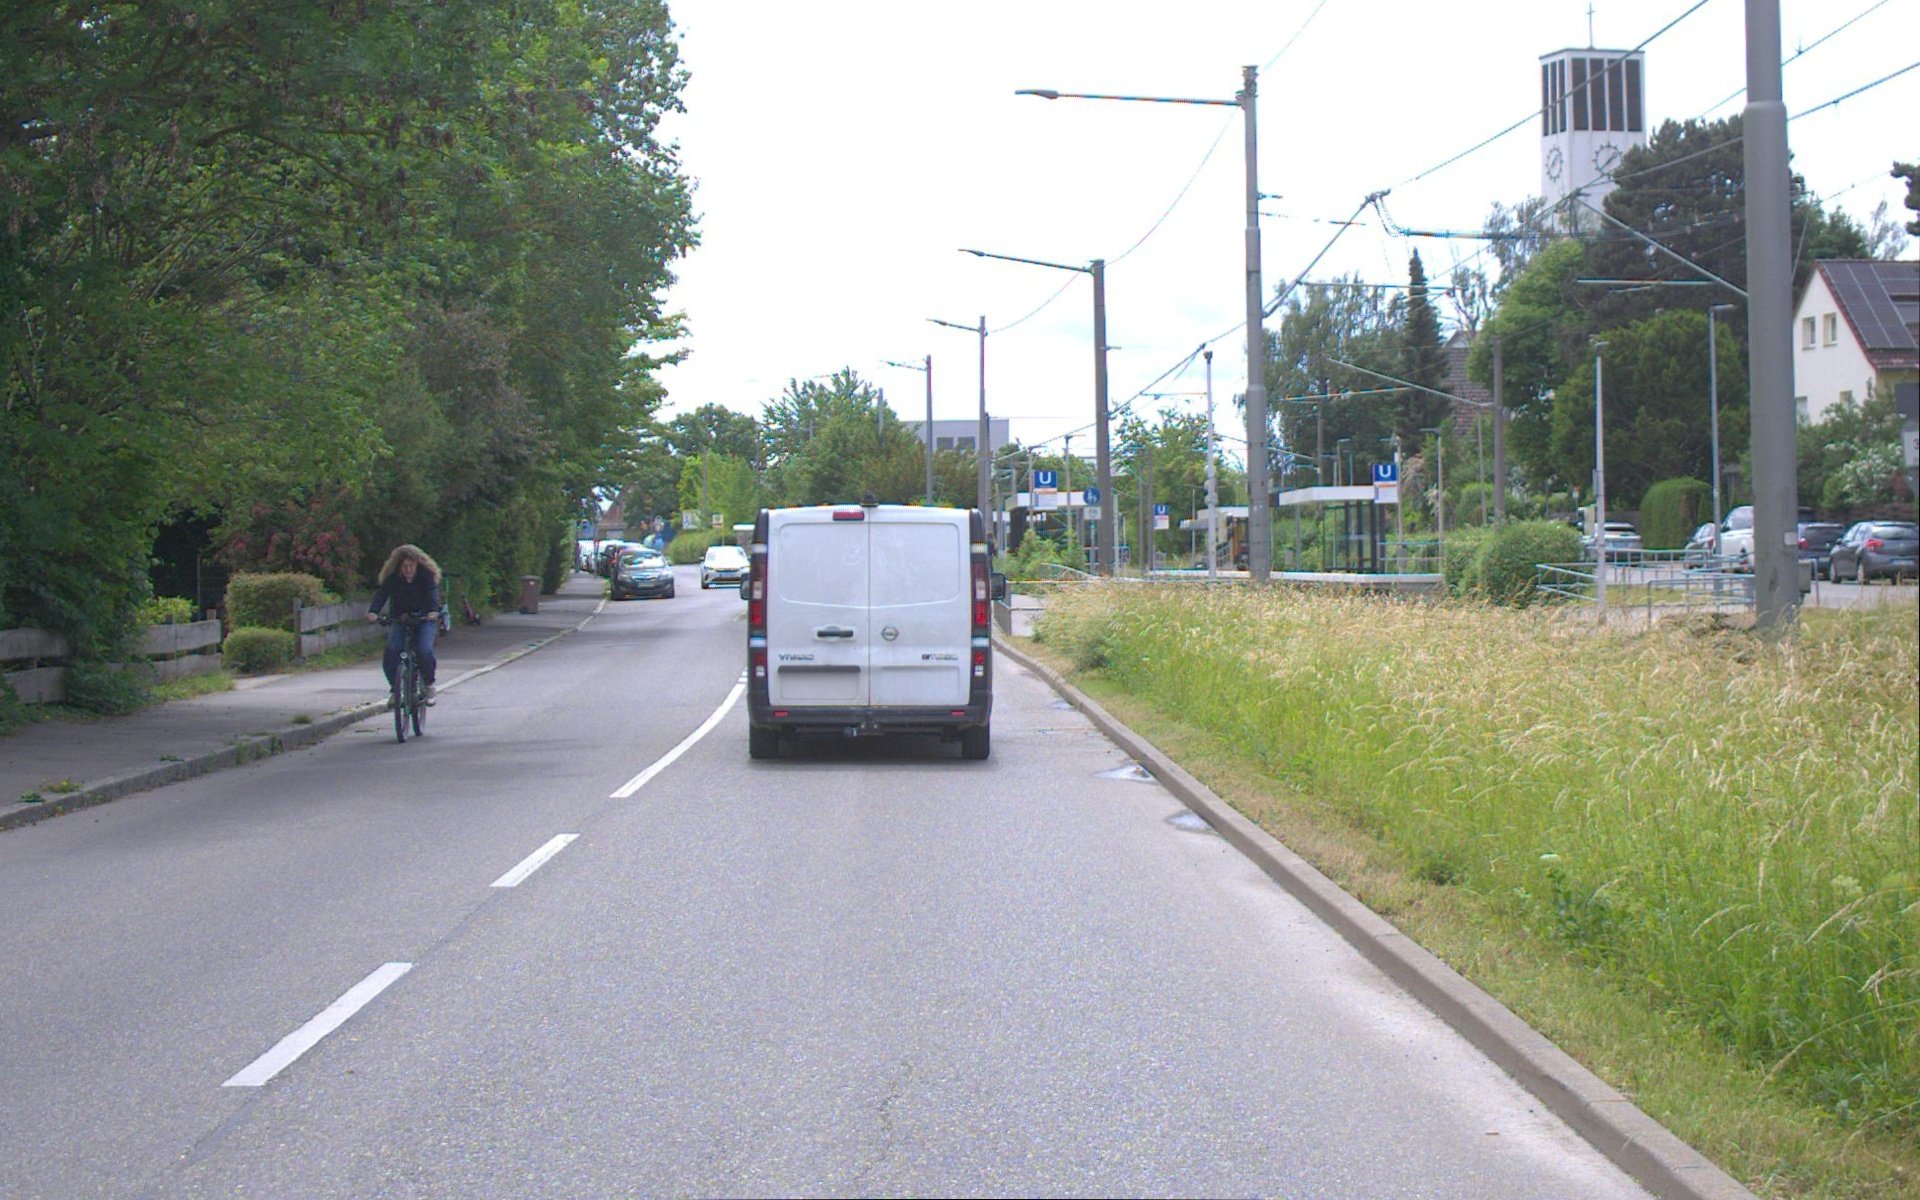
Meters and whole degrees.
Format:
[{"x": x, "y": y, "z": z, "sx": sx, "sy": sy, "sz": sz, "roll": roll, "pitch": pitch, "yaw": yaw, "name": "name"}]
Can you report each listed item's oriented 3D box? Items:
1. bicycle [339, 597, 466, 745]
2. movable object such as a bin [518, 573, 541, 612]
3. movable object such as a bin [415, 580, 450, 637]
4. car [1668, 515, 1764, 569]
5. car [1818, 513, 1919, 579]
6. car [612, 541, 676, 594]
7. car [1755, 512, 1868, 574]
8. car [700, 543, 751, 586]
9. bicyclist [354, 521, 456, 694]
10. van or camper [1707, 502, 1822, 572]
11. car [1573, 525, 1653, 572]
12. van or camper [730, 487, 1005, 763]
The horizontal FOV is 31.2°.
[{"x": -5.012, "y": 0.617, "z": 31.060, "sx": 0.755, "sy": 1.222, "sz": 2.308, "roll": -2, "pitch": 1, "yaw": -1, "name": "bicycle"}, {"x": -10.594, "y": -0.183, "z": 84.616, "sx": 0.462, "sy": 0.927, "sz": 0.430, "roll": 3, "pitch": 0, "yaw": -18, "name": "movable object such as a bin"}, {"x": -8.779, "y": 0.138, "z": 57.226, "sx": 0.513, "sy": 0.942, "sz": 0.568, "roll": 1, "pitch": 1, "yaw": -1, "name": "movable object such as a bin"}, {"x": 21.650, "y": -1.663, "z": 98.588, "sx": 1.883, "sy": 1.517, "sz": 4.000, "roll": -1, "pitch": 1, "yaw": 0, "name": "car"}, {"x": 21.832, "y": -1.298, "z": 81.722, "sx": 1.883, "sy": 1.517, "sz": 4.000, "roll": -1, "pitch": 1, "yaw": 0, "name": "car"}, {"x": -9.569, "y": -0.998, "z": 103.927, "sx": 1.736, "sy": 1.499, "sz": 4.479, "roll": -2, "pitch": 1, "yaw": -7, "name": "car"}, {"x": 21.699, "y": -1.456, "z": 87.769, "sx": 1.883, "sy": 1.517, "sz": 4.000, "roll": -1, "pitch": 1, "yaw": 0, "name": "car"}, {"x": -8.196, "y": -1.251, "z": 120.044, "sx": 1.693, "sy": 1.426, "sz": 3.787, "roll": -3, "pitch": 1, "yaw": -4, "name": "car"}, {"x": -5.057, "y": 0.064, "z": 31.359, "sx": 0.778, "sy": 1.544, "sz": 0.870, "roll": -1, "pitch": 1, "yaw": -1, "name": "bicyclist"}, {"x": 21.633, "y": -1.694, "z": 92.618, "sx": 1.905, "sy": 1.819, "sz": 5.048, "roll": -1, "pitch": 1, "yaw": 0, "name": "van or camper"}, {"x": 21.719, "y": -1.720, "z": 114.458, "sx": 1.883, "sy": 1.517, "sz": 4.000, "roll": -1, "pitch": 1, "yaw": 0, "name": "car"}, {"x": -0.690, "y": 0.164, "z": 27.494, "sx": 1.993, "sy": 2.007, "sz": 4.446, "roll": 1, "pitch": 0, "yaw": 0, "name": "van or camper"}]
